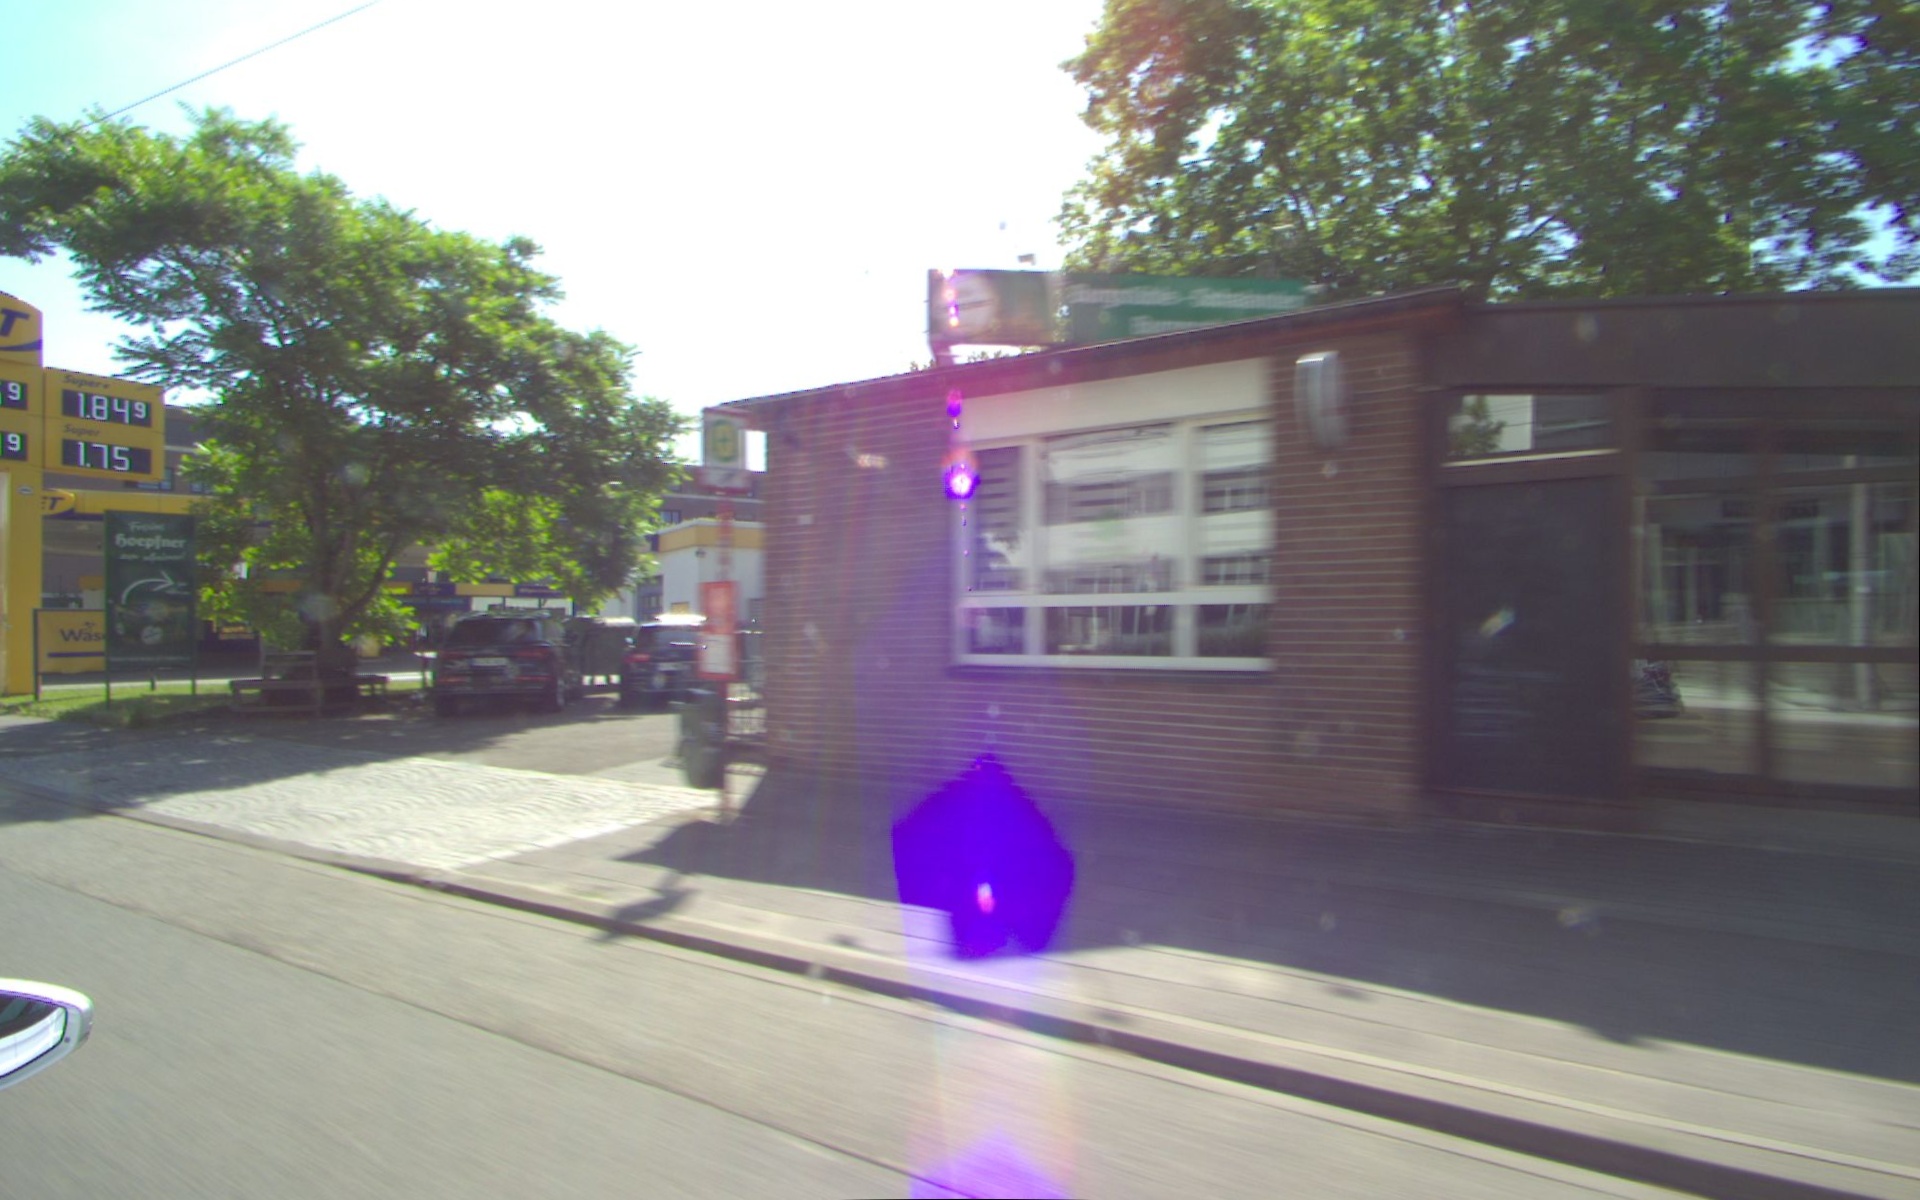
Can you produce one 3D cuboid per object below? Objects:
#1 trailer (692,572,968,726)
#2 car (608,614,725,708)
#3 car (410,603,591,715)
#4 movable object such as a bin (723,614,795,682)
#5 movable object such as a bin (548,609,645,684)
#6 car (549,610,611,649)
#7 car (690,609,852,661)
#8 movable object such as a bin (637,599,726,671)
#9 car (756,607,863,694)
[{"bbox_3d":[-1.488,0.551,12.425,1.699,1.624,3.267,0,-1,33],"label":"trailer"},{"bbox_3d":[-5.197,1.005,18.111,1.813,1.493,3.995,0,-1,-14],"label":"car"},{"bbox_3d":[-7.722,0.920,17.314,1.983,1.662,4.654,0,-1,-14],"label":"car"},{"bbox_3d":[-4.694,1.108,23.342,1.310,1.522,1.325,1,-1,-29],"label":"movable object such as a bin"},{"bbox_3d":[-7.701,0.964,21.246,1.361,1.522,1.413,0,-1,36],"label":"movable object such as a bin"},{"bbox_3d":[-20.321,1.548,53.389,1.740,2.008,5.268,0,-1,-37],"label":"car"},{"bbox_3d":[-5.739,1.033,30.542,4.494,1.479,1.882,1,-1,-32],"label":"car"},{"bbox_3d":[-6.154,0.786,22.116,1.408,1.521,1.367,3,-3,-42],"label":"movable object such as a bin"},{"bbox_3d":[-3.177,0.961,20.468,1.813,1.577,3.995,0,-1,-14],"label":"car"}]
